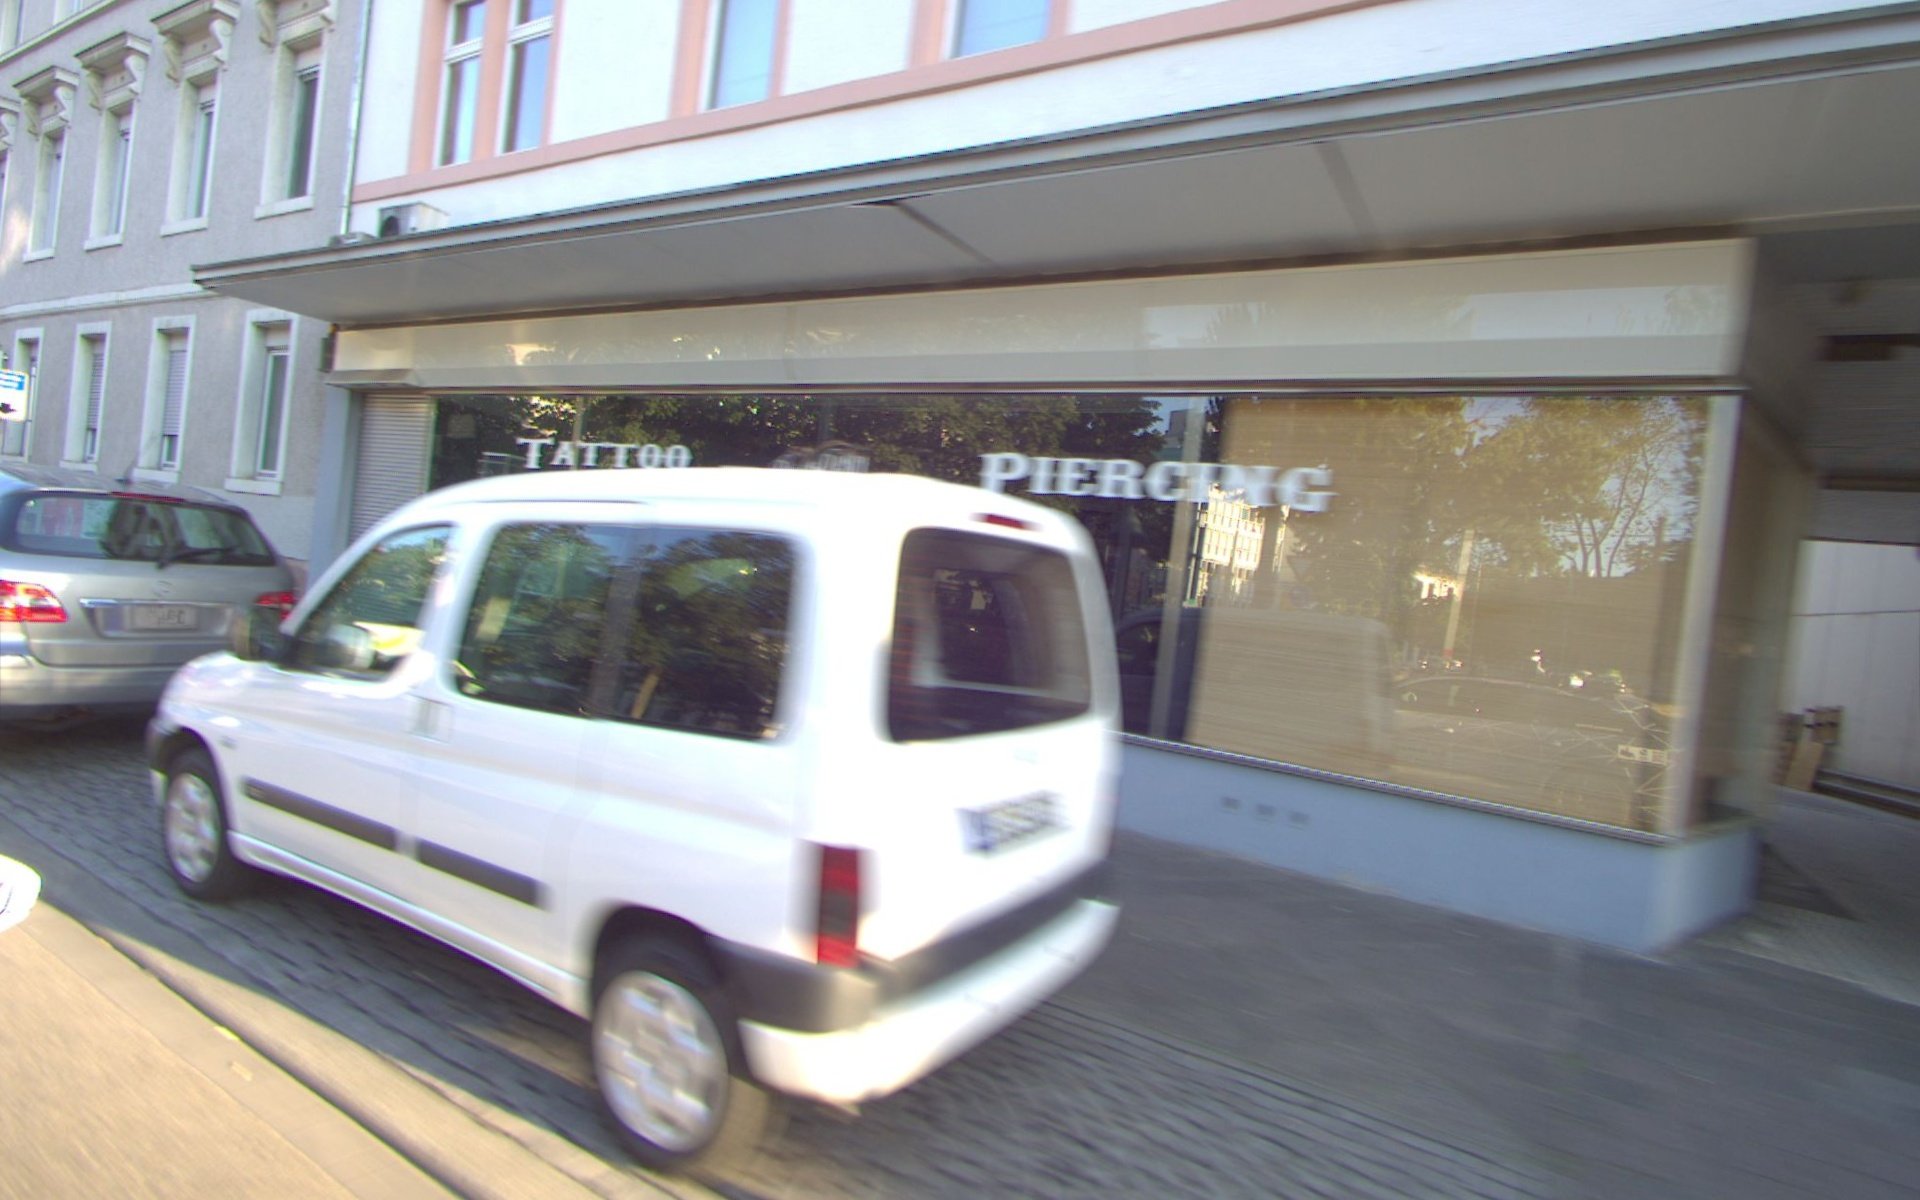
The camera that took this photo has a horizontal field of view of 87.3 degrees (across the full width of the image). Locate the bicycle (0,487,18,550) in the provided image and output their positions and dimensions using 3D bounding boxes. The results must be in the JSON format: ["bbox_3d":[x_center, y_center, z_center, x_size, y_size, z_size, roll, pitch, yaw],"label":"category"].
[{"bbox_3d":[-16.656,-1.443,16.833,1.680,1.024,0.456,6,0,17],"label":"bicycle"}]

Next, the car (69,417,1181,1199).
[{"bbox_3d":[-1.471,0.414,3.906,4.024,1.814,1.795,7,0,32],"label":"car"}]

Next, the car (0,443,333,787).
[{"bbox_3d":[-6.096,-0.083,6.511,4.039,1.685,1.659,7,0,31],"label":"car"}]
